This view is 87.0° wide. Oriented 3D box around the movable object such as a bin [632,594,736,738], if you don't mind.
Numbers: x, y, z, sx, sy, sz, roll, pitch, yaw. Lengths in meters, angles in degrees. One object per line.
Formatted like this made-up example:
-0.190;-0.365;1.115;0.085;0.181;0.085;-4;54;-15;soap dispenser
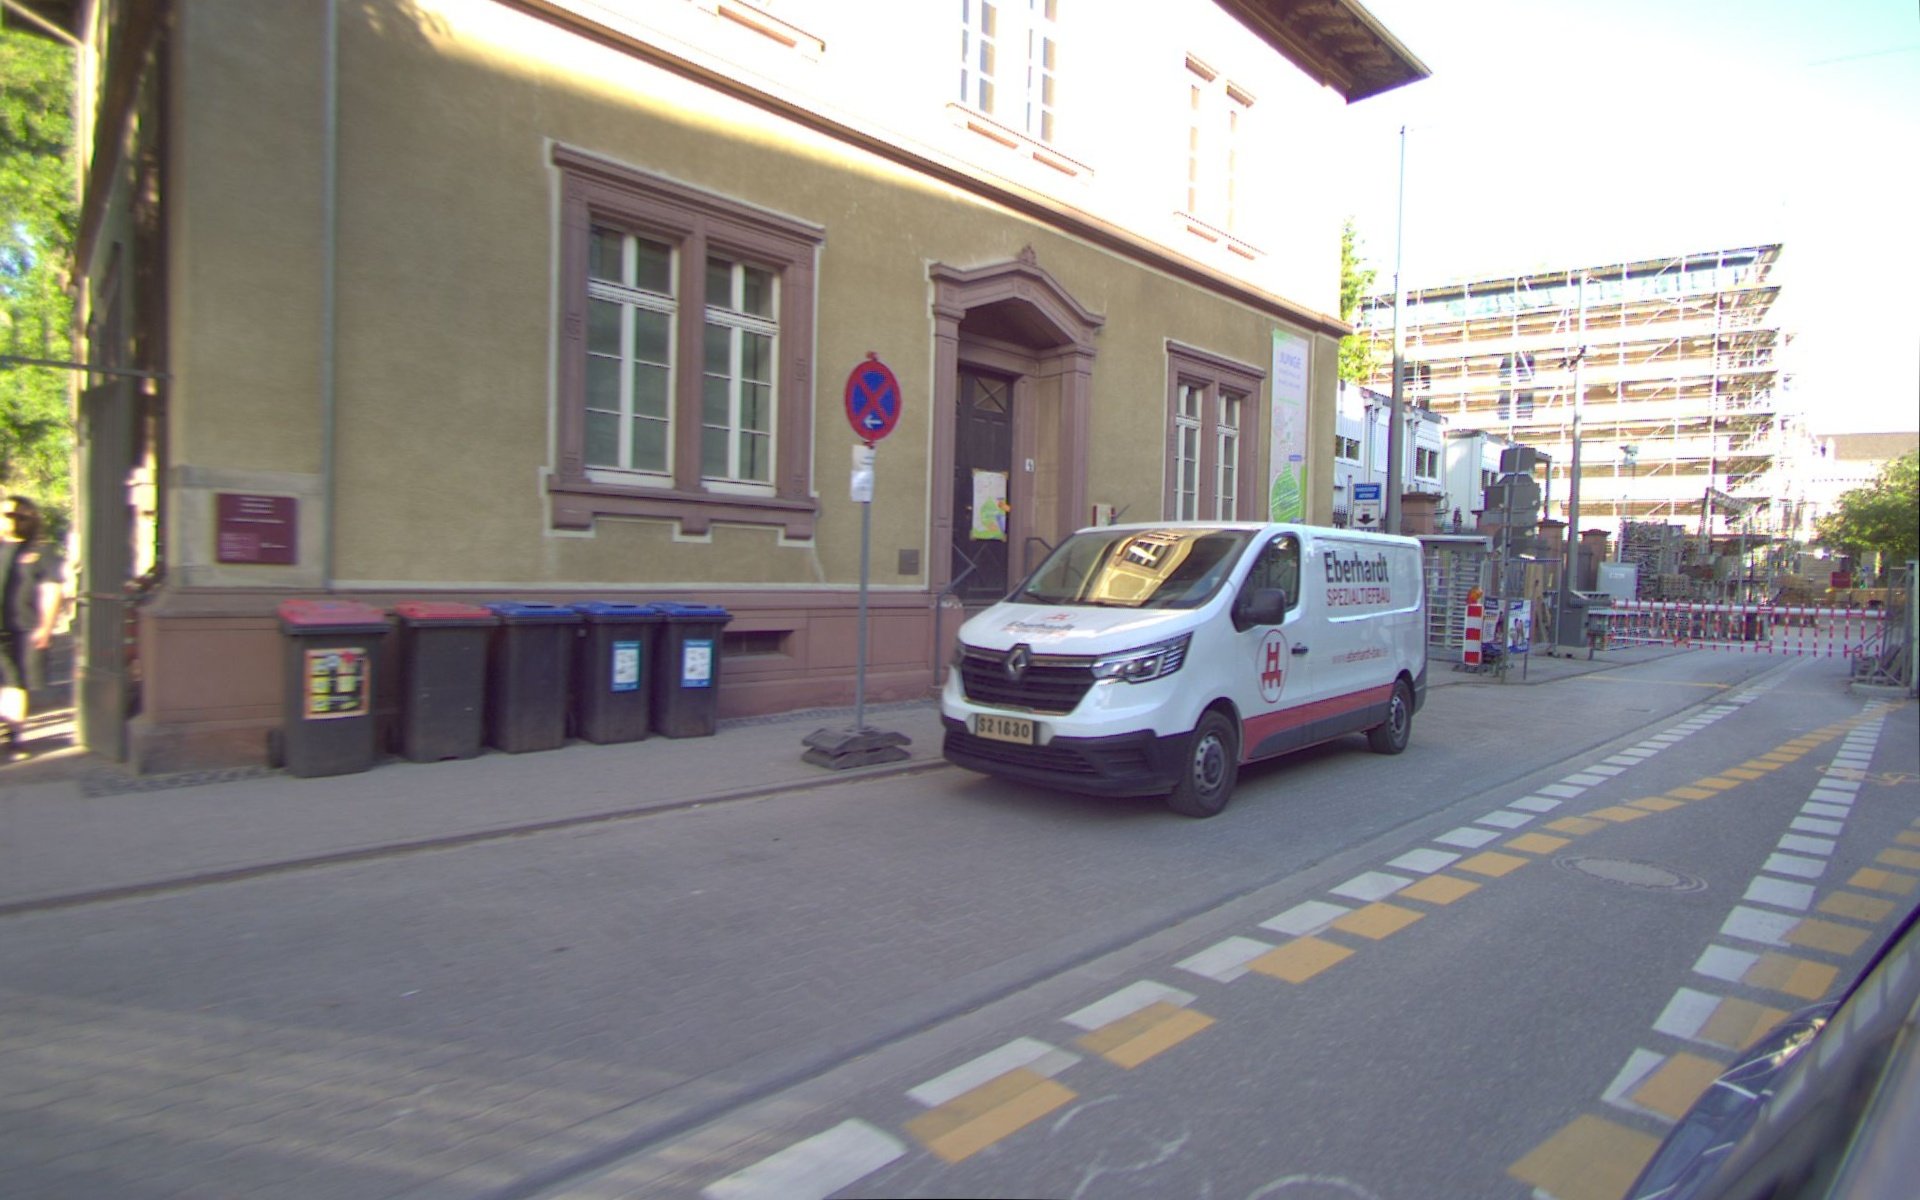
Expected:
-2.286;0.513;8.355;0.552;1.086;0.731;0;3;-41;movable object such as a bin

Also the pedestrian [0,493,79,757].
-6.534;0.157;6.881;0.638;1.739;0.691;2;0;39;pedestrian

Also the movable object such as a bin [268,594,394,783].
-4.089;0.526;6.566;0.561;1.086;0.870;0;3;-41;movable object such as a bin

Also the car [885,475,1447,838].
2.032;0.246;8.190;2.013;1.969;5.398;1;2;42;car

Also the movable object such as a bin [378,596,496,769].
-3.689;0.541;7.122;0.561;1.086;0.794;0;3;-41;movable object such as a bin

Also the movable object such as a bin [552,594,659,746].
-2.815;0.520;8.014;0.526;1.086;0.794;0;3;-41;movable object such as a bin

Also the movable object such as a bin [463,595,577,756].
-3.298;0.528;7.564;0.561;1.086;0.794;0;3;-41;movable object such as a bin
